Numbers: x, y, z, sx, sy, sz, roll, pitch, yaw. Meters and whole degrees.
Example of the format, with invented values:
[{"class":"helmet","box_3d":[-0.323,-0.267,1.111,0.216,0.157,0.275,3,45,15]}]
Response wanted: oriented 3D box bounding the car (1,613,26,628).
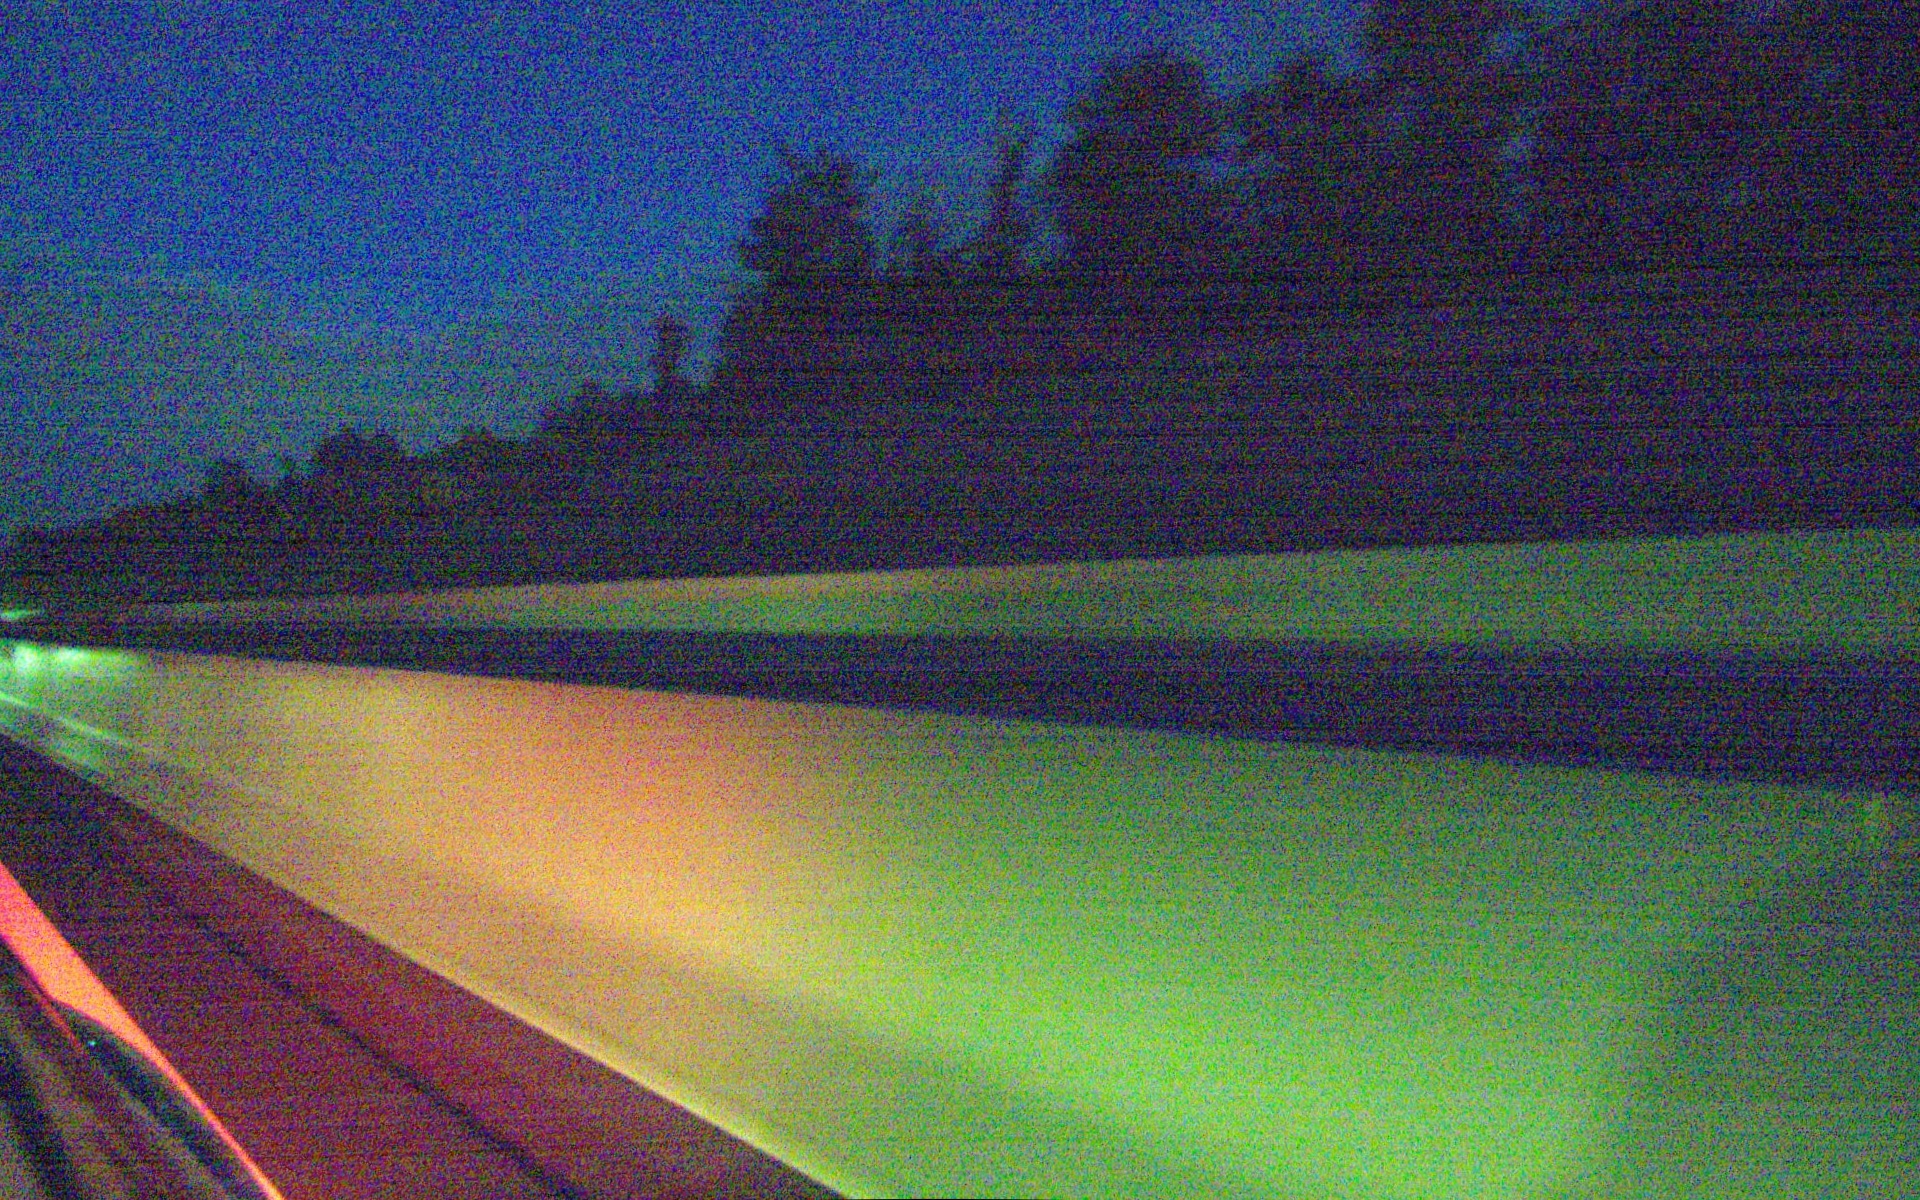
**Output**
[{"class":"car","box_3d":[-132.453,2.901,141.619,3.996,1.940,1.974,-2,-1,39]}]
